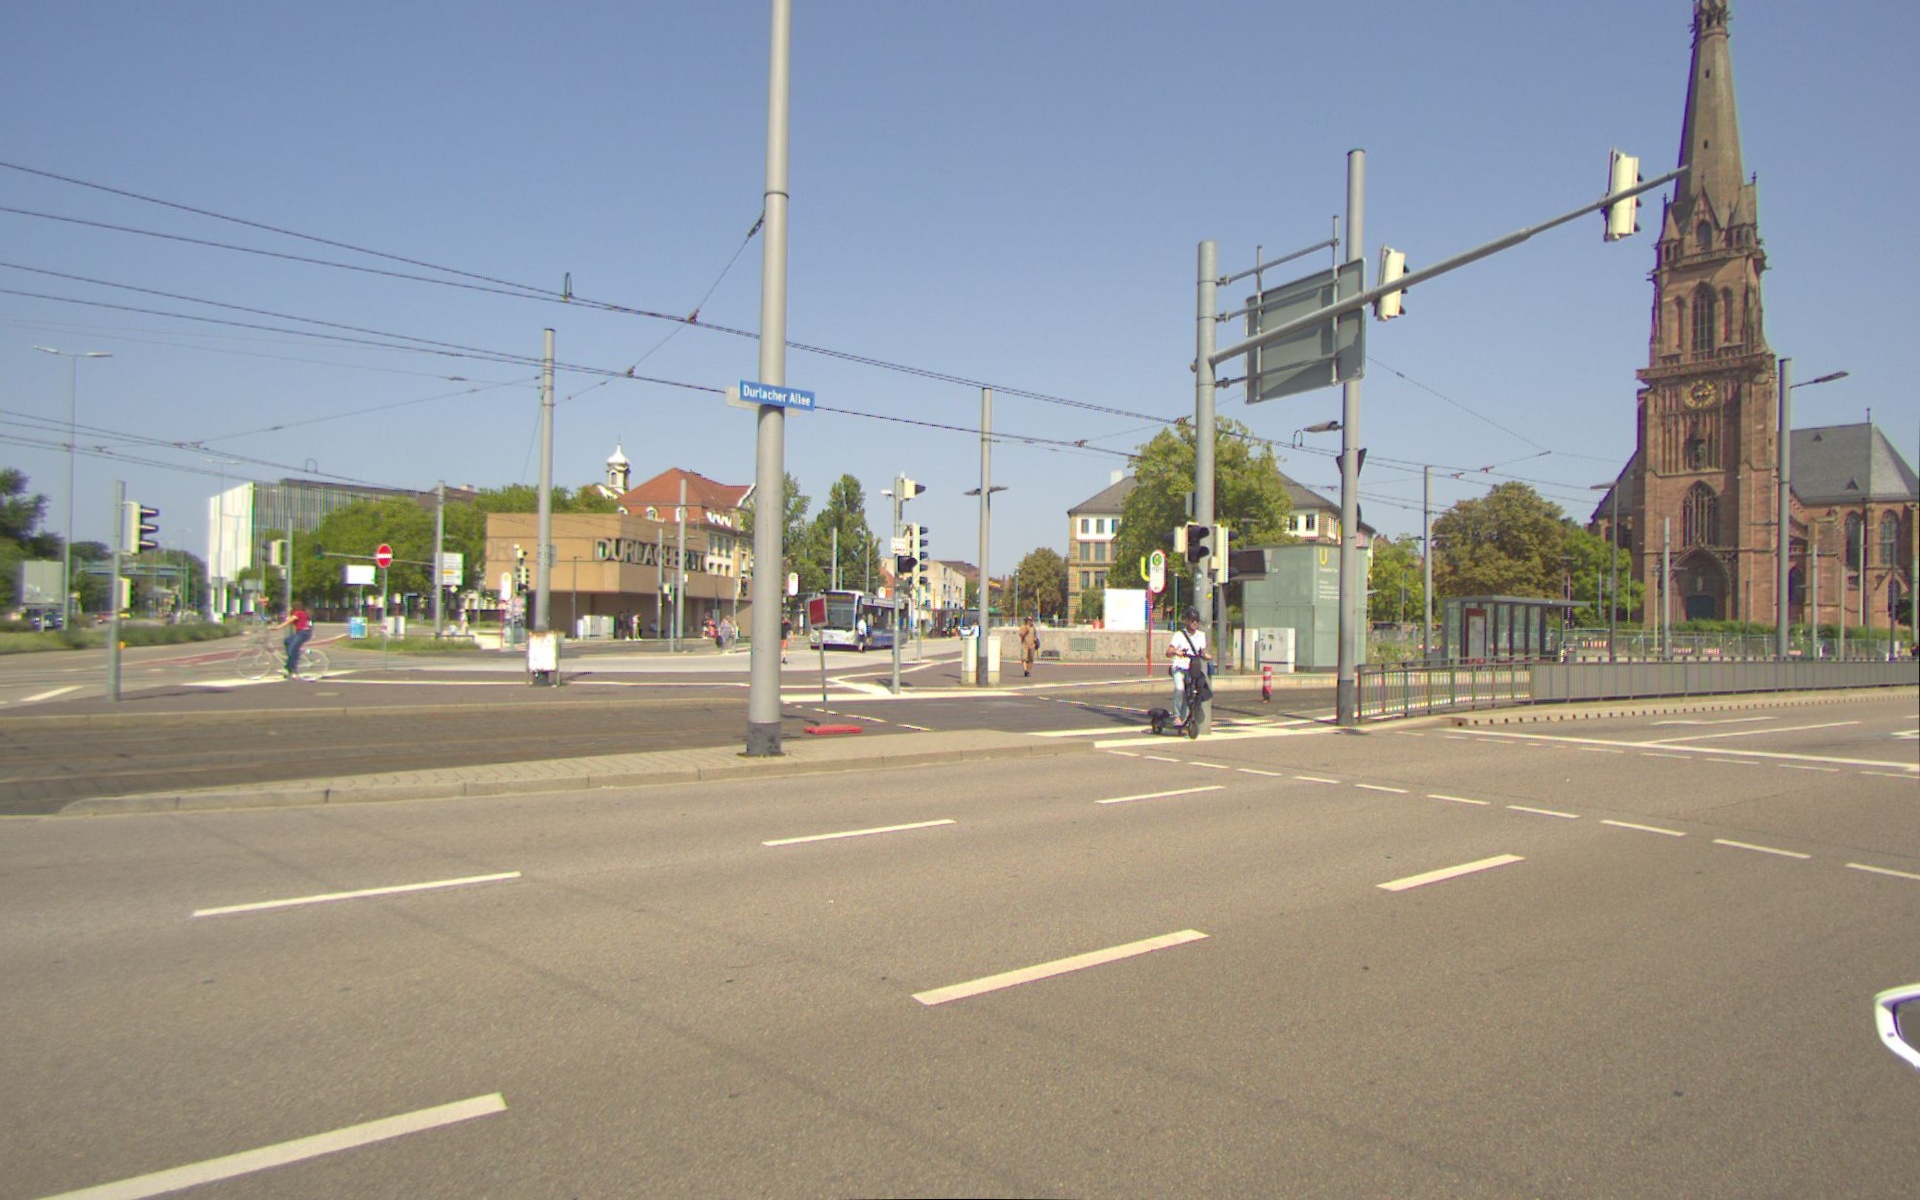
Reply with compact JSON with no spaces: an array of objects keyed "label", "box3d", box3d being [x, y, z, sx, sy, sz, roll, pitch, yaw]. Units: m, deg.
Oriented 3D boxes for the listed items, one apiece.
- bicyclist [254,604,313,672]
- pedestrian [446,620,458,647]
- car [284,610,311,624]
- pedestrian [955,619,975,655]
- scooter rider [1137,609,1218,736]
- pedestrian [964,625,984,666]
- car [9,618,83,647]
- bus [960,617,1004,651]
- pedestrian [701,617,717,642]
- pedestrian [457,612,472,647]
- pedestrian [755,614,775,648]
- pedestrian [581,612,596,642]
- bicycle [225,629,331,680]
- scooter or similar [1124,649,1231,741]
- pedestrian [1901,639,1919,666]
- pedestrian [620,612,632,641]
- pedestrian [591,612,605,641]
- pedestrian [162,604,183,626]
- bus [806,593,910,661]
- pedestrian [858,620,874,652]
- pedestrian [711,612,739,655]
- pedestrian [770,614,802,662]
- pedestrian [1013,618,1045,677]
[{"label":"bicyclist","box3d":[-15.275,0.856,22.705,0.969,1.478,0.871,3,-2,-30]},{"label":"pedestrian","box3d":[-26.340,1.723,52.075,0.457,1.393,0.346,2,-1,-37]},{"label":"car","box3d":[-81.028,2.086,122.947,1.876,1.675,4.631,1,-2,-23]},{"label":"pedestrian","box3d":[0.240,1.675,45.234,0.768,1.569,0.679,2,-1,6]},{"label":"scooter rider","box3d":[3.017,0.980,13.936,0.772,1.695,0.765,2,-1,-37]},{"label":"pedestrian","box3d":[0.611,1.960,43.437,0.768,1.751,0.679,1,-1,6]},{"label":"car","box3d":[-61.270,2.142,67.405,1.966,1.818,3.989,0,0,-14]},{"label":"bus","box3d":[2.351,3.379,101.491,2.490,3.072,12.443,-1,0,10]},{"label":"pedestrian","box3d":[-17.923,2.099,71.702,0.779,1.702,0.856,-1,0,13]},{"label":"pedestrian","box3d":[-25.852,1.543,52.405,0.555,1.840,0.555,2,-1,-37]},{"label":"pedestrian","box3d":[-10.524,1.660,54.173,0.776,1.803,0.952,3,-2,-27]},{"label":"pedestrian","box3d":[-21.276,1.539,57.524,0.566,1.698,0.587,-1,0,13]},{"label":"bicycle","box3d":[-15.344,1.235,22.664,1.891,1.083,0.610,3,-2,-30]},{"label":"scooter or similar","box3d":[3.013,1.289,14.001,0.702,1.163,1.329,2,-1,-36]},{"label":"pedestrian","box3d":[63.462,3.519,67.041,0.713,1.775,0.824,3,-2,-33]},{"label":"pedestrian","box3d":[-19.577,1.535,58.863,0.565,1.667,0.507,0,0,-31]},{"label":"pedestrian","box3d":[-21.020,1.546,58.313,0.566,1.698,0.587,-1,0,13]},{"label":"pedestrian","box3d":[-63.993,1.208,81.671,0.953,1.809,1.113,1,-1,-18]},{"label":"bus","box3d":[-5.486,1.514,56.881,2.623,3.375,12.768,1,-1,9]},{"label":"pedestrian","box3d":[-4.688,1.785,49.956,0.588,1.548,0.577,2,-2,12]},{"label":"pedestrian","box3d":[-10.180,1.433,43.479,0.948,1.803,0.779,3,-2,-31]},{"label":"pedestrian","box3d":[-6.600,1.435,38.074,0.948,1.803,0.779,3,-2,-31]},{"label":"pedestrian","box3d":[1.996,1.363,29.103,0.565,1.681,0.797,0,0,38]}]
